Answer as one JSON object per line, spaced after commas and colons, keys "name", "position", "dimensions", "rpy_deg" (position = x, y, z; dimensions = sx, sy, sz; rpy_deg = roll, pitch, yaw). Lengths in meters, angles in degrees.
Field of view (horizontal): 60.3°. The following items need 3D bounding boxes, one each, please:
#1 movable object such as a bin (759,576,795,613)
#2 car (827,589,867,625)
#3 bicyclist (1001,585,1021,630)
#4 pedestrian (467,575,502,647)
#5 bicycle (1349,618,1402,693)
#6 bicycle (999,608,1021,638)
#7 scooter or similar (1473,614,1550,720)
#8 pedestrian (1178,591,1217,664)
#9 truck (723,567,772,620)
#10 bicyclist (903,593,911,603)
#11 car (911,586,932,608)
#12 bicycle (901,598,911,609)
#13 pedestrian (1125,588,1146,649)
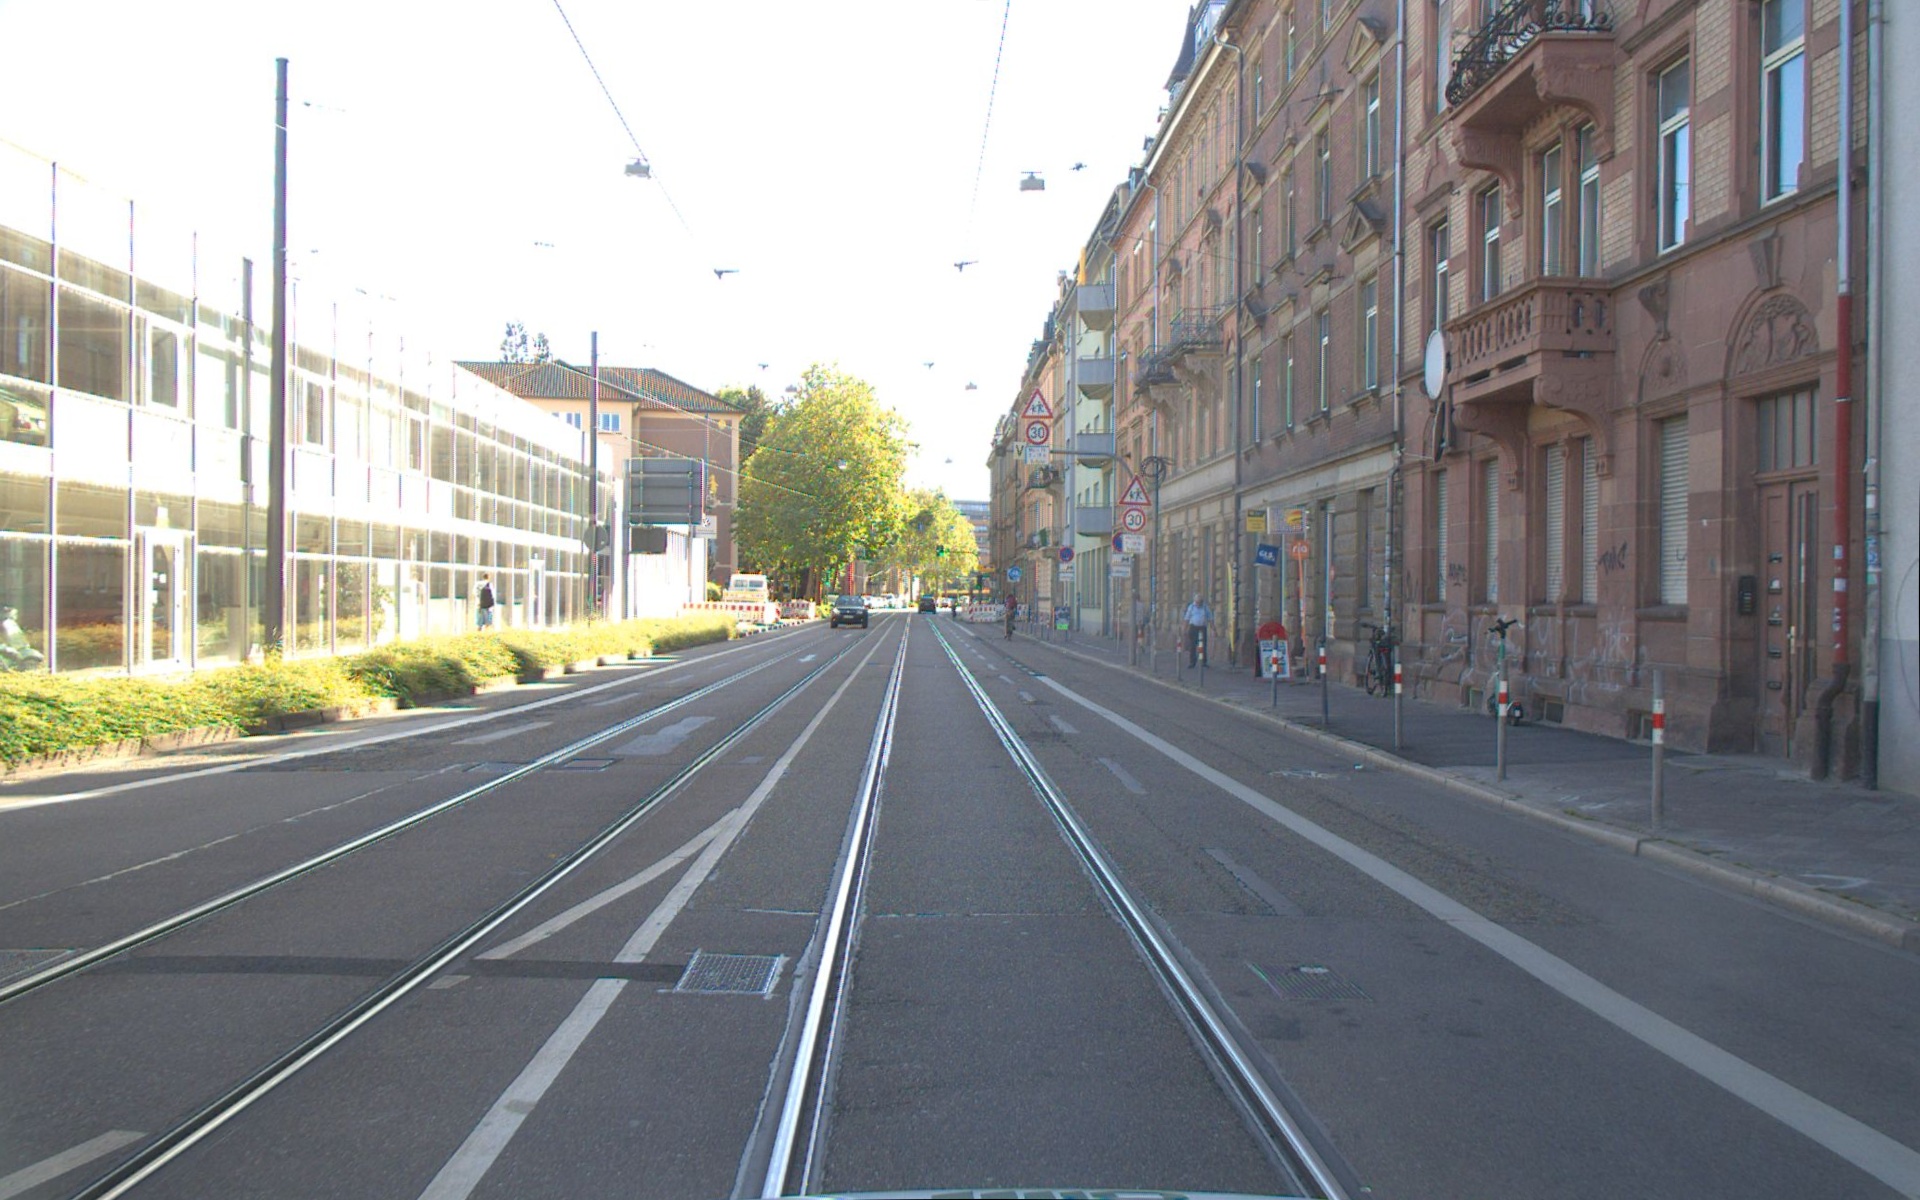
{"name": "movable object such as a bin", "position": [-14.070, -0.425, 127.280], "dimensions": [2.446, 2.691, 5.984], "rpy_deg": [2, 0, -4]}
{"name": "car", "position": [-5.652, 0.354, 82.979], "dimensions": [1.723, 1.726, 4.143], "rpy_deg": [2, -1, -1]}
{"name": "bicyclist", "position": [2.014, 0.289, 65.448], "dimensions": [0.653, 1.726, 1.042], "rpy_deg": [2, -1, -2]}
{"name": "pedestrian", "position": [-11.985, 0.277, 41.708], "dimensions": [0.516, 1.795, 1.050], "rpy_deg": [2, -1, -2]}
{"name": "bicycle", "position": [6.534, 0.855, 26.065], "dimensions": [0.401, 1.141, 1.898], "rpy_deg": [-1, -1, 2]}
{"name": "bicycle", "position": [1.988, 0.879, 65.464], "dimensions": [0.667, 1.134, 2.706], "rpy_deg": [2, 0, -2]}
{"name": "scooter or similar", "position": [6.637, 0.785, 19.961], "dimensions": [0.398, 1.232, 1.480], "rpy_deg": [-1, -1, -1]}
{"name": "pedestrian", "position": [5.390, 0.624, 37.551], "dimensions": [0.782, 1.633, 0.652], "rpy_deg": [0, -1, 0]}
{"name": "truck", "position": [-12.304, -0.359, 96.342], "dimensions": [2.489, 2.879, 6.369], "rpy_deg": [2, -1, -5]}
{"name": "bicyclist", "position": [-8.049, -0.327, 251.099], "dimensions": [1.054, 1.452, 1.147], "rpy_deg": [2, -1, 7]}
{"name": "car", "position": [-3.883, -0.287, 167.604], "dimensions": [1.953, 2.049, 3.999], "rpy_deg": [2, -1, -1]}
{"name": "bicycle", "position": [-8.182, 0.484, 251.185], "dimensions": [1.208, 1.600, 2.899], "rpy_deg": [2, -1, 6]}
{"name": "pedestrian", "position": [5.002, 0.526, 47.123], "dimensions": [0.541, 1.730, 0.474], "rpy_deg": [-1, -1, 2]}
